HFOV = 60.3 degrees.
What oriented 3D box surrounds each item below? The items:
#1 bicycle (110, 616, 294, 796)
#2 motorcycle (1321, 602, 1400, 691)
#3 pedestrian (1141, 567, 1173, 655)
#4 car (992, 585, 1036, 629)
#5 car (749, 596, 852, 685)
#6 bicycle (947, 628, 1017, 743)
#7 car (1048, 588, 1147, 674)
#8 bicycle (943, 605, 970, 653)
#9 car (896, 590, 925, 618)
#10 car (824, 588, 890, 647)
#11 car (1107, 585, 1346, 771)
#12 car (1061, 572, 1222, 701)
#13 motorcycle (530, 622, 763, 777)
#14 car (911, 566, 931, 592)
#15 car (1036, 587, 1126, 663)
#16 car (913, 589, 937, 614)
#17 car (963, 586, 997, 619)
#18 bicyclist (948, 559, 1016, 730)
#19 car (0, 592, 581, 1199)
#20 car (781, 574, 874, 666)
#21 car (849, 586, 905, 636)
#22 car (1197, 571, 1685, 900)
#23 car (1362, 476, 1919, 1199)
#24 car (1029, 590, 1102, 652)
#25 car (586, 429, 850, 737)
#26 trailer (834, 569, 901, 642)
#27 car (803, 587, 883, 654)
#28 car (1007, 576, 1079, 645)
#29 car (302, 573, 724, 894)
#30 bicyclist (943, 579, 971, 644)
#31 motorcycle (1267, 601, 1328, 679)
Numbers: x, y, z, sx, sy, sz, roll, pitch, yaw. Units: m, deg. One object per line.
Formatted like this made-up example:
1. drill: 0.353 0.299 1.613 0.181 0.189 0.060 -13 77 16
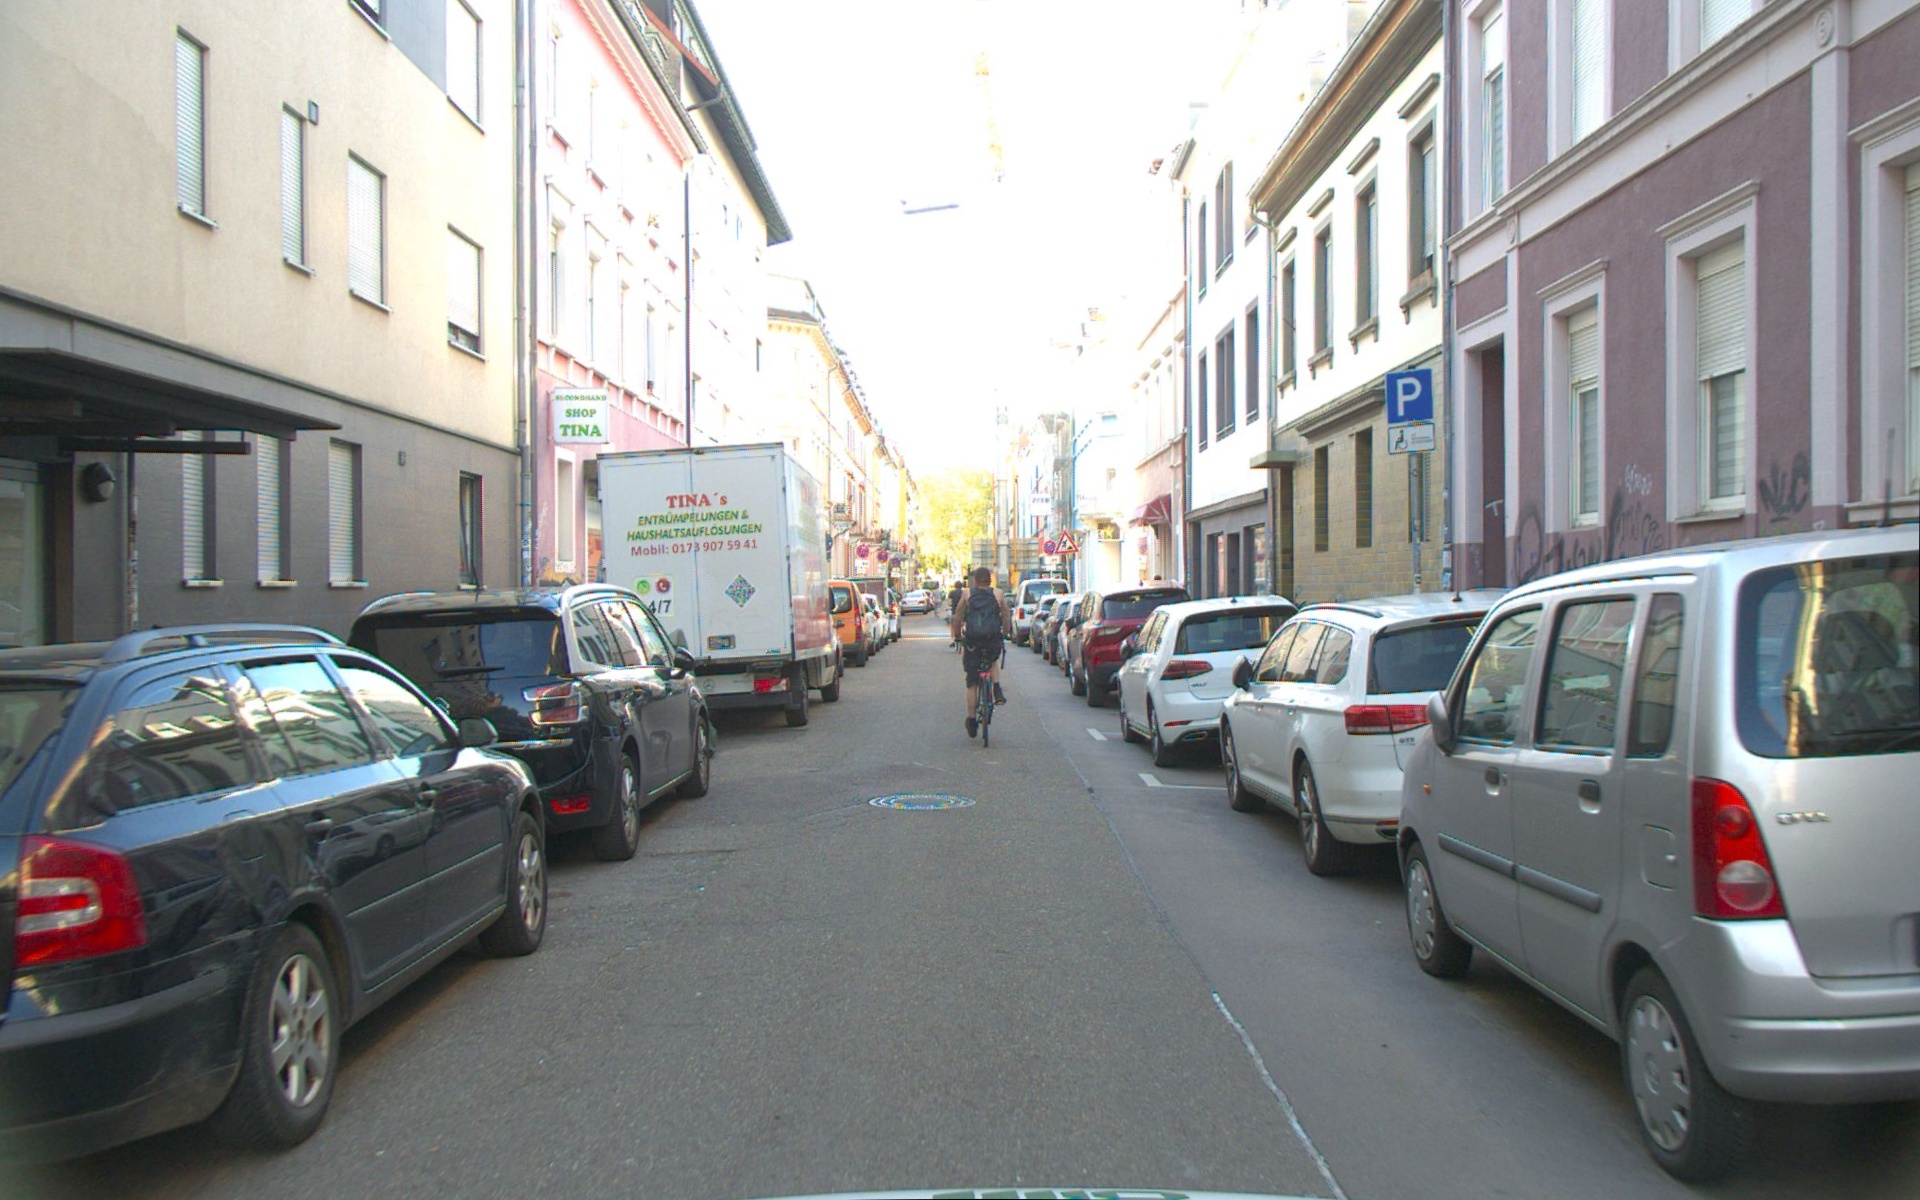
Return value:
1. bicycle: -5.541 0.730 12.197 0.480 1.185 1.773 -2 0 1
2. motorcycle: 5.280 0.591 21.888 0.547 1.114 1.776 -2 0 0
3. pedestrian: 4.676 0.255 39.314 0.631 2.049 0.763 1 -1 -1
4. car: 2.135 0.270 65.821 1.578 1.662 3.610 1 0 0
5. car: -2.949 0.723 31.142 1.546 1.509 3.564 -3 0 -1
6. bicycle: 0.208 0.854 17.194 0.663 1.093 1.941 1 0 -1
7. car: 2.647 0.580 32.575 1.632 1.531 3.816 -3 0 1
8. bicycle: -0.095 0.719 41.708 0.635 1.149 2.135 1 0 0
9. car: -3.106 0.251 104.847 1.714 1.713 3.795 -1 0 0
10. car: -2.872 0.471 46.582 1.620 1.564 3.634 -1 0 0
11. car: 2.512 0.689 16.496 1.652 1.570 4.045 -2 0 -1
12. car: 2.584 0.478 24.534 1.879 1.735 4.366 0 0 -1
13. motorcycle: -2.892 0.885 15.458 0.777 1.275 2.096 -2 0 41
14. car: -3.531 -1.900 151.382 1.714 2.358 3.795 -1 0 0
15. car: 2.677 0.540 37.294 1.612 1.500 3.970 -4 0 0
16. car: -2.570 0.117 121.763 1.714 1.853 3.795 -1 0 0
17. car: 0.991 0.118 81.751 1.578 1.587 3.610 1 0 0
18. bicyclist: 0.218 0.453 17.162 0.654 1.706 1.097 1 0 -1
19. car: -2.647 0.796 5.588 1.682 1.504 4.498 -3 1 -1
20. car: -2.834 0.414 36.190 1.717 1.848 4.077 -2 0 -1
21. car: -2.754 0.376 55.641 1.714 1.600 3.795 -1 0 0
22. car: 2.712 0.677 10.497 1.662 1.570 4.628 -2 0 -1
23. car: 2.571 0.610 5.554 1.525 1.742 3.558 1 0 -1
24. car: 2.716 0.531 43.085 1.714 1.513 3.800 -1 0 1
25. car: -2.926 -0.180 21.930 2.295 3.349 7.154 -2 0 0
26. trailer: -2.825 0.169 51.265 1.843 2.129 3.737 -1 0 0
27. car: -2.891 0.499 41.675 1.714 1.564 4.318 -1 0 0
28. car: 2.381 0.298 48.148 1.715 1.911 3.970 -1 0 -3
29. car: -2.754 0.698 11.209 1.682 1.679 4.245 -3 1 -1
30. bicyclist: -0.083 0.288 41.772 0.657 1.595 0.716 1 0 -1
31. motorcycle: 5.088 0.585 25.035 0.490 1.114 1.878 -2 0 0
